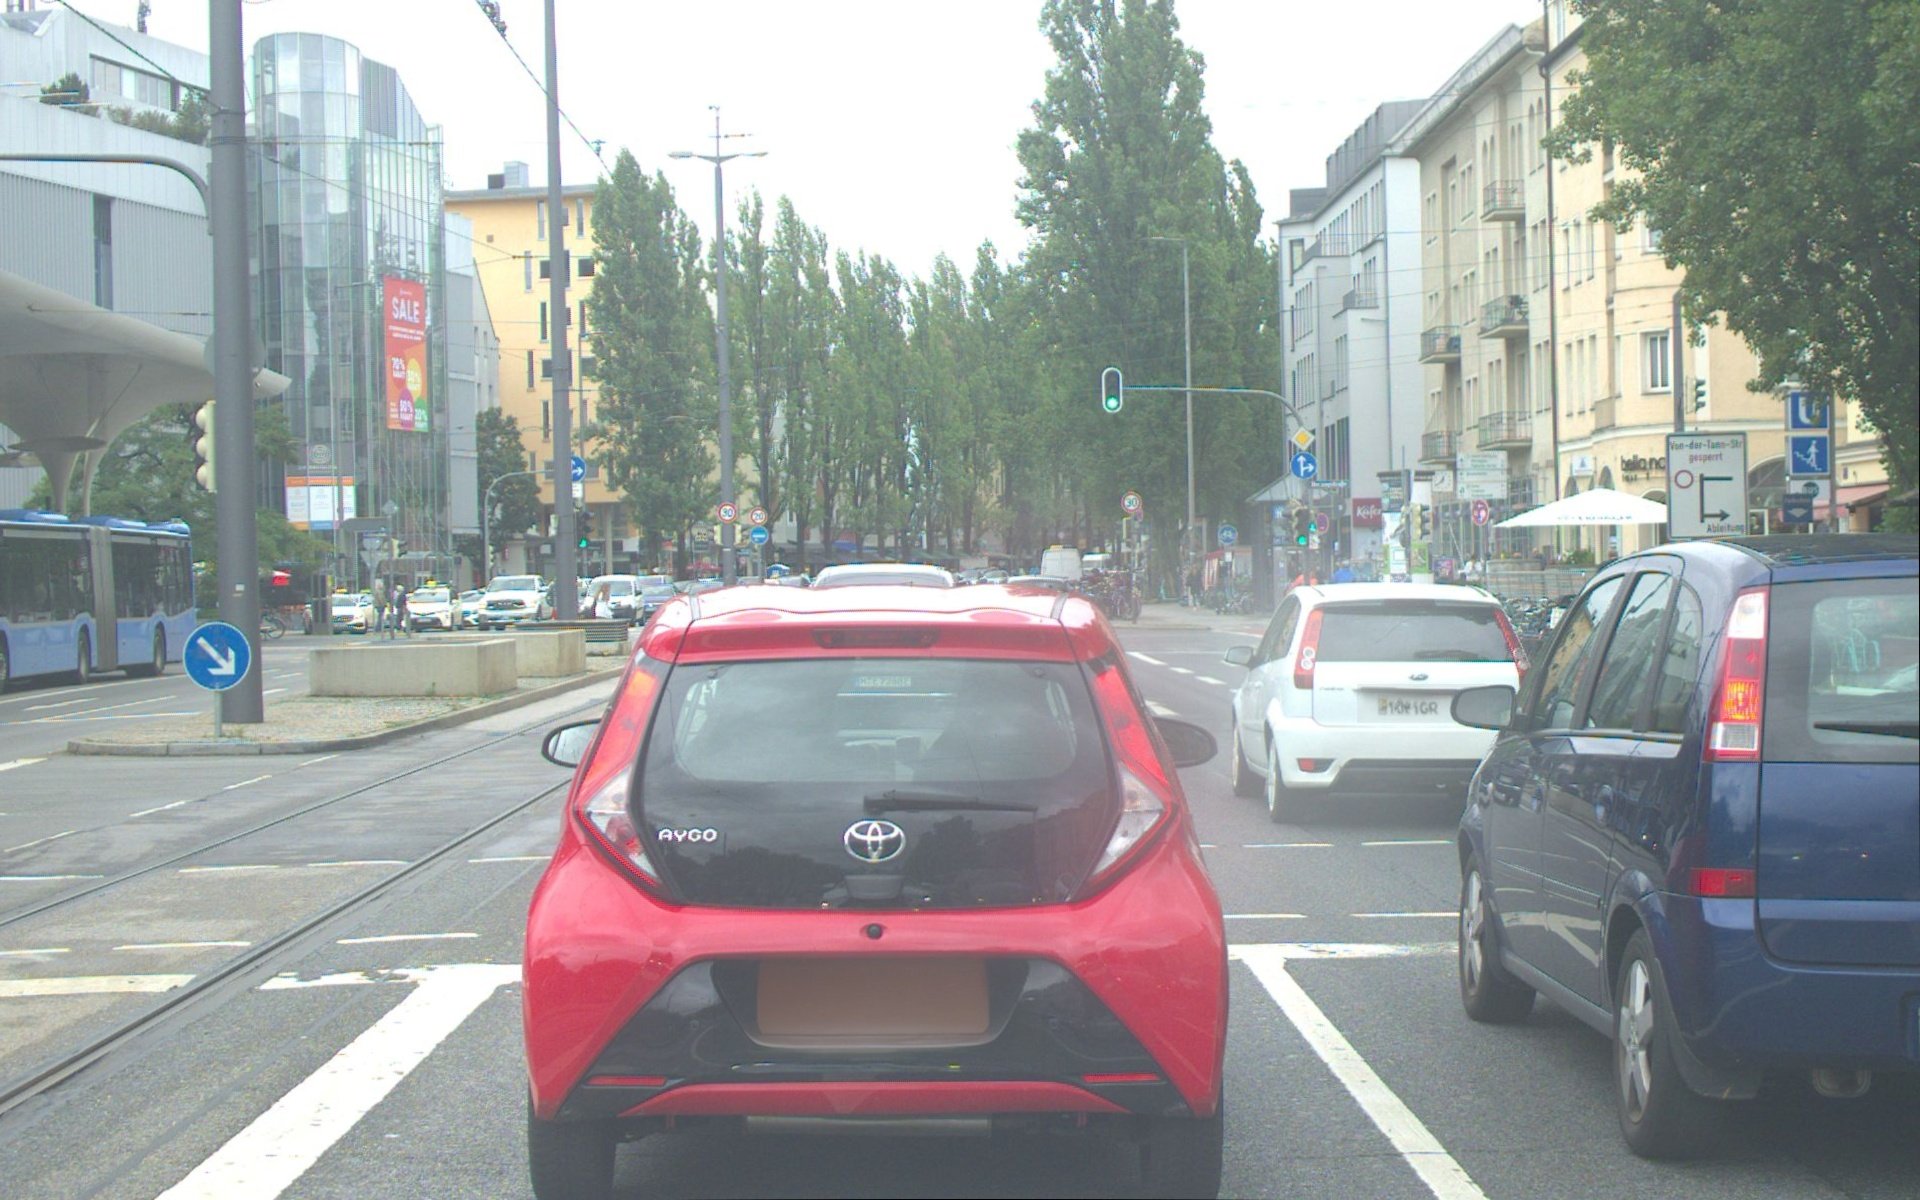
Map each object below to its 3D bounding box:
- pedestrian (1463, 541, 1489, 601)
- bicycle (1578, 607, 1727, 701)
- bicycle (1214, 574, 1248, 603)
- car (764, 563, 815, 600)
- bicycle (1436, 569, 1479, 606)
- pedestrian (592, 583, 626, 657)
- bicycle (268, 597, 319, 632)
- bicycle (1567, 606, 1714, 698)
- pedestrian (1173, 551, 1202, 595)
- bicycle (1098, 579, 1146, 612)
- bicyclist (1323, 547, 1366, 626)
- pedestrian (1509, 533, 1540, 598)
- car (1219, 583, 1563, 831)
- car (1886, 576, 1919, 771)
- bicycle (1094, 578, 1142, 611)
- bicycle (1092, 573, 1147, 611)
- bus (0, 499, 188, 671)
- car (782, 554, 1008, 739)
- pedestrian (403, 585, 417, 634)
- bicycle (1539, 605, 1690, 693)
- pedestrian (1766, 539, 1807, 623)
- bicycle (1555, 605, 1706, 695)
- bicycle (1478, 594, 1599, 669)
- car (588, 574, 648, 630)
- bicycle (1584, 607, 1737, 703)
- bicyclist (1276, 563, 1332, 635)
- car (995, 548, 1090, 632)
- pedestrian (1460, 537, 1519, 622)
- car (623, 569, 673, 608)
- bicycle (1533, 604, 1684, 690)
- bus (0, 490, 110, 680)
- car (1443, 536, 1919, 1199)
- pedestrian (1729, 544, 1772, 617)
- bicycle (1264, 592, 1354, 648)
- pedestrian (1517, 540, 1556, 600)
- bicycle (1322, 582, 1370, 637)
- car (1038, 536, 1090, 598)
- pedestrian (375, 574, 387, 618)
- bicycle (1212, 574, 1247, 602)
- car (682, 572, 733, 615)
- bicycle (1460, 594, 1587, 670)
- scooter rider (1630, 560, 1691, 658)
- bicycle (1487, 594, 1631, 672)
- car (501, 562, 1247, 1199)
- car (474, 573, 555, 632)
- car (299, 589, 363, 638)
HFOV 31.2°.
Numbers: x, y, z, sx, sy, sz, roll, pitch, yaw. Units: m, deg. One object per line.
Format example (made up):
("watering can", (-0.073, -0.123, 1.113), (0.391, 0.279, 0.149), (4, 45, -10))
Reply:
("pedestrian", (14.572, -0.812, 97.090), (0.566, 1.665, 0.562), (0, 4, 22))
("bicycle", (7.832, 0.597, 38.942), (0.374, 0.992, 1.841), (-2, 2, -39))
("bicycle", (9.512, -0.410, 120.703), (1.181, 0.960, 0.369), (-2, 1, 4))
("car", (-8.357, -0.917, 168.607), (1.743, 1.664, 4.731), (-2, 1, 6))
("bicycle", (14.370, -0.371, 99.306), (0.494, 1.055, 1.867), (-2, 1, -15))
("pedestrian", (-7.647, 0.435, 74.869), (0.521, 1.613, 0.463), (-1, 1, 43))
("bicycle", (-21.688, 0.462, 111.814), (1.574, 1.108, 0.373), (-1, 1, 4))
("bicycle", (7.849, 0.589, 39.706), (0.374, 0.992, 1.841), (-2, 2, -39))
("pedestrian", (8.128, -0.966, 122.775), (0.808, 1.517, 0.800), (-2, 1, -13))
("bicycle", (5.074, -0.149, 107.955), (0.498, 1.025, 1.601), (-2, 1, -42))
("bicyclist", (9.250, -0.323, 82.663), (0.762, 1.863, 1.133), (-2, 1, -5))
("pedestrian", (15.821, -0.972, 96.342), (0.648, 1.745, 0.637), (-2, 4, -9))
("car", (2.647, 0.617, 21.818), (1.699, 1.421, 3.497), (0, 1, -1))
("car", (8.176, 0.529, 23.972), (1.993, 1.435, 4.530), (-3, 1, -2))
("bicycle", (4.993, -0.161, 108.811), (0.498, 1.025, 1.601), (-2, 1, -42))
("bicycle", (5.069, -0.250, 109.471), (1.803, 1.194, 0.558), (-1, 1, 43))
("bus", (-16.890, -0.296, 65.861), (2.660, 2.997, 7.514), (-3, 1, -2))
("car", (-0.615, 0.391, 33.012), (1.993, 1.612, 4.000), (-2, 1, -1))
("pedestrian", (-19.689, 0.329, 122.996), (0.445, 1.754, 0.356), (-1, 1, -8))
("bicycle", (7.823, 0.573, 41.150), (1.840, 0.992, 0.374), (1, 2, 42))
("pedestrian", (16.244, -0.372, 67.594), (0.614, 1.627, 0.678), (-1, 0, 0))
("bicycle", (7.867, 0.582, 40.400), (1.841, 0.992, 0.374), (1, 2, 45))
("bicycle", (8.003, 0.428, 47.619), (0.324, 0.992, 1.841), (-2, 2, -43))
("car", (-11.868, 0.048, 119.582), (1.786, 1.849, 4.219), (-2, 1, -3))
("bicycle", (7.791, 0.603, 38.301), (0.374, 0.992, 1.841), (-2, 2, -39))
("bicyclist", (7.946, -0.023, 79.516), (0.614, 1.652, 1.251), (-2, 1, -32))
("car", (1.868, -0.246, 78.783), (1.993, 1.831, 4.000), (-2, 1, 0))
("pedestrian", (10.920, -0.422, 70.880), (0.881, 1.737, 0.858), (-1, 0, -17))
("car", (-12.028, -0.460, 132.794), (1.677, 1.391, 4.233), (-2, 1, -2))
("bicycle", (7.878, 0.567, 41.831), (1.840, 0.992, 0.374), (1, 2, 38))
("bus", (-16.555, -0.197, 56.866), (2.660, 2.997, 10.517), (-3, 1, -2))
("car", (2.492, 0.623, 9.862), (1.703, 1.584, 3.556), (0, 1, 0))
("pedestrian", (15.712, -0.387, 68.333), (0.675, 1.418, 0.617), (-1, 0, 0))
("bicycle", (8.048, 0.453, 79.388), (0.614, 1.260, 2.519), (-2, 1, -32))
("pedestrian", (16.911, -0.879, 100.865), (0.933, 1.749, 1.065), (-1, 1, 0))
("bicycle", (9.254, 0.217, 82.567), (0.613, 1.260, 2.520), (-2, 1, -5))
("car", (4.677, -1.482, 155.247), (2.107, 2.709, 4.804), (-2, 1, 0))
("pedestrian", (-20.708, -0.141, 122.910), (0.353, 1.562, 0.270), (-2, 1, -11))
("bicycle", (9.504, -0.435, 121.246), (1.181, 0.960, 0.369), (-2, 1, -2))
("car", (-9.003, -0.244, 122.826), (1.545, 1.440, 3.539), (-2, 1, -1))
("bicycle", (7.746, 0.427, 47.326), (1.841, 0.992, 0.324), (1, 2, 42))
("scooter rider", (10.045, 0.128, 49.290), (0.700, 1.384, 0.643), (-1, 0, -2))
("bicycle", (7.926, 0.430, 45.530), (1.838, 0.992, 0.375), (0, 2, 24))
("car", (-0.169, 0.644, 9.042), (1.605, 1.456, 3.130), (1, 1, 1))
("car", (-15.232, 0.073, 117.787), (2.175, 1.881, 6.157), (-2, 1, -2))
("car", (-22.100, 0.459, 120.651), (1.993, 1.531, 4.416), (-2, 1, -13))
